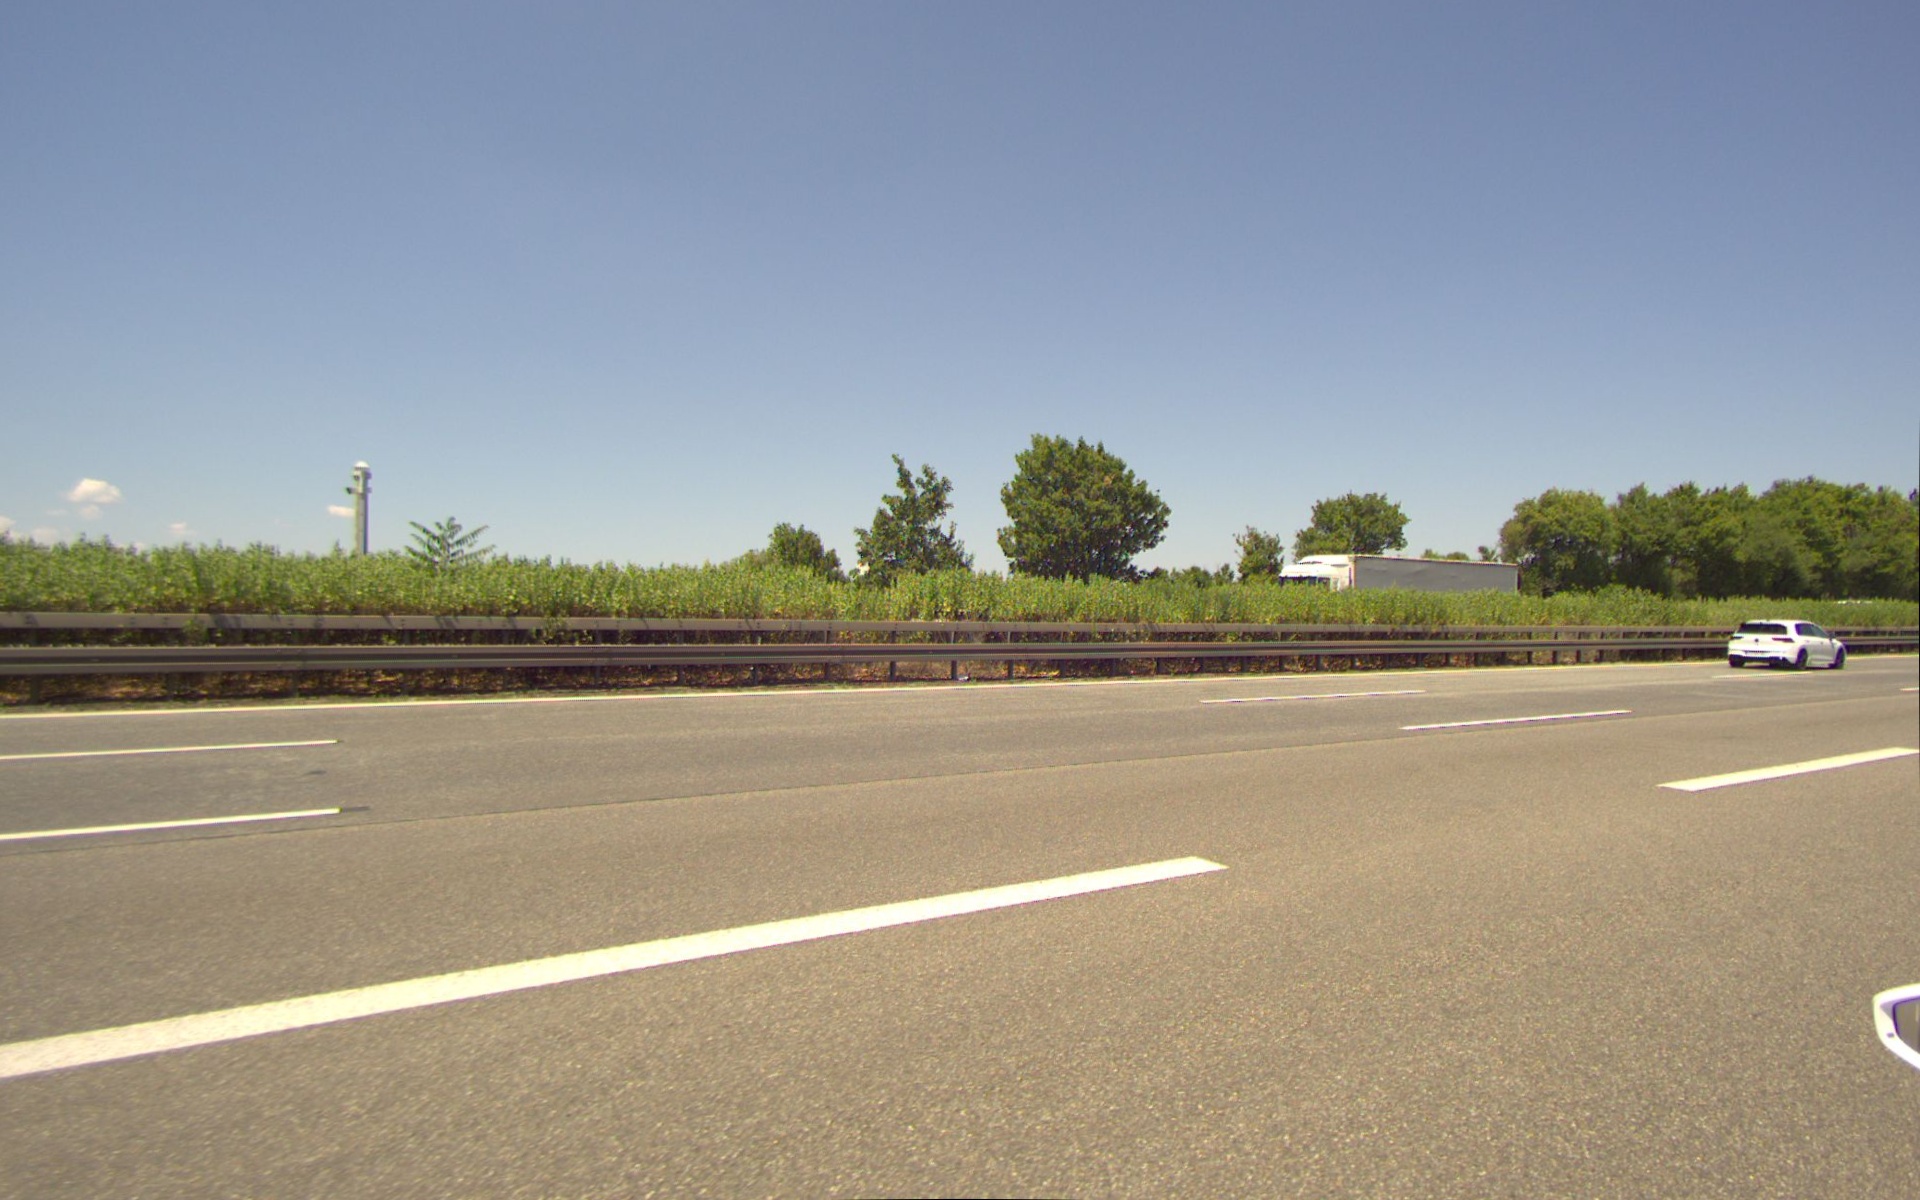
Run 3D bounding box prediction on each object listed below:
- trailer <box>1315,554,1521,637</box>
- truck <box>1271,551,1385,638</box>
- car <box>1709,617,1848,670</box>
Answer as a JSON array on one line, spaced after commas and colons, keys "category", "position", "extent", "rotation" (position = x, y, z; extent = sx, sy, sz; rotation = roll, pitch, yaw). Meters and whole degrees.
[{"category": "trailer", "position": [24.281, -0.097, 52.704], "extent": [13.561, 4.000, 2.525], "rotation": [1, 0, -31]}, {"category": "truck", "position": [17.905, -0.226, 48.886], "extent": [5.106, 4.000, 2.525], "rotation": [1, 0, -31]}, {"category": "car", "position": [24.679, 1.265, 30.242], "extent": [4.614, 1.460, 1.773], "rotation": [1, 0, -31]}]
